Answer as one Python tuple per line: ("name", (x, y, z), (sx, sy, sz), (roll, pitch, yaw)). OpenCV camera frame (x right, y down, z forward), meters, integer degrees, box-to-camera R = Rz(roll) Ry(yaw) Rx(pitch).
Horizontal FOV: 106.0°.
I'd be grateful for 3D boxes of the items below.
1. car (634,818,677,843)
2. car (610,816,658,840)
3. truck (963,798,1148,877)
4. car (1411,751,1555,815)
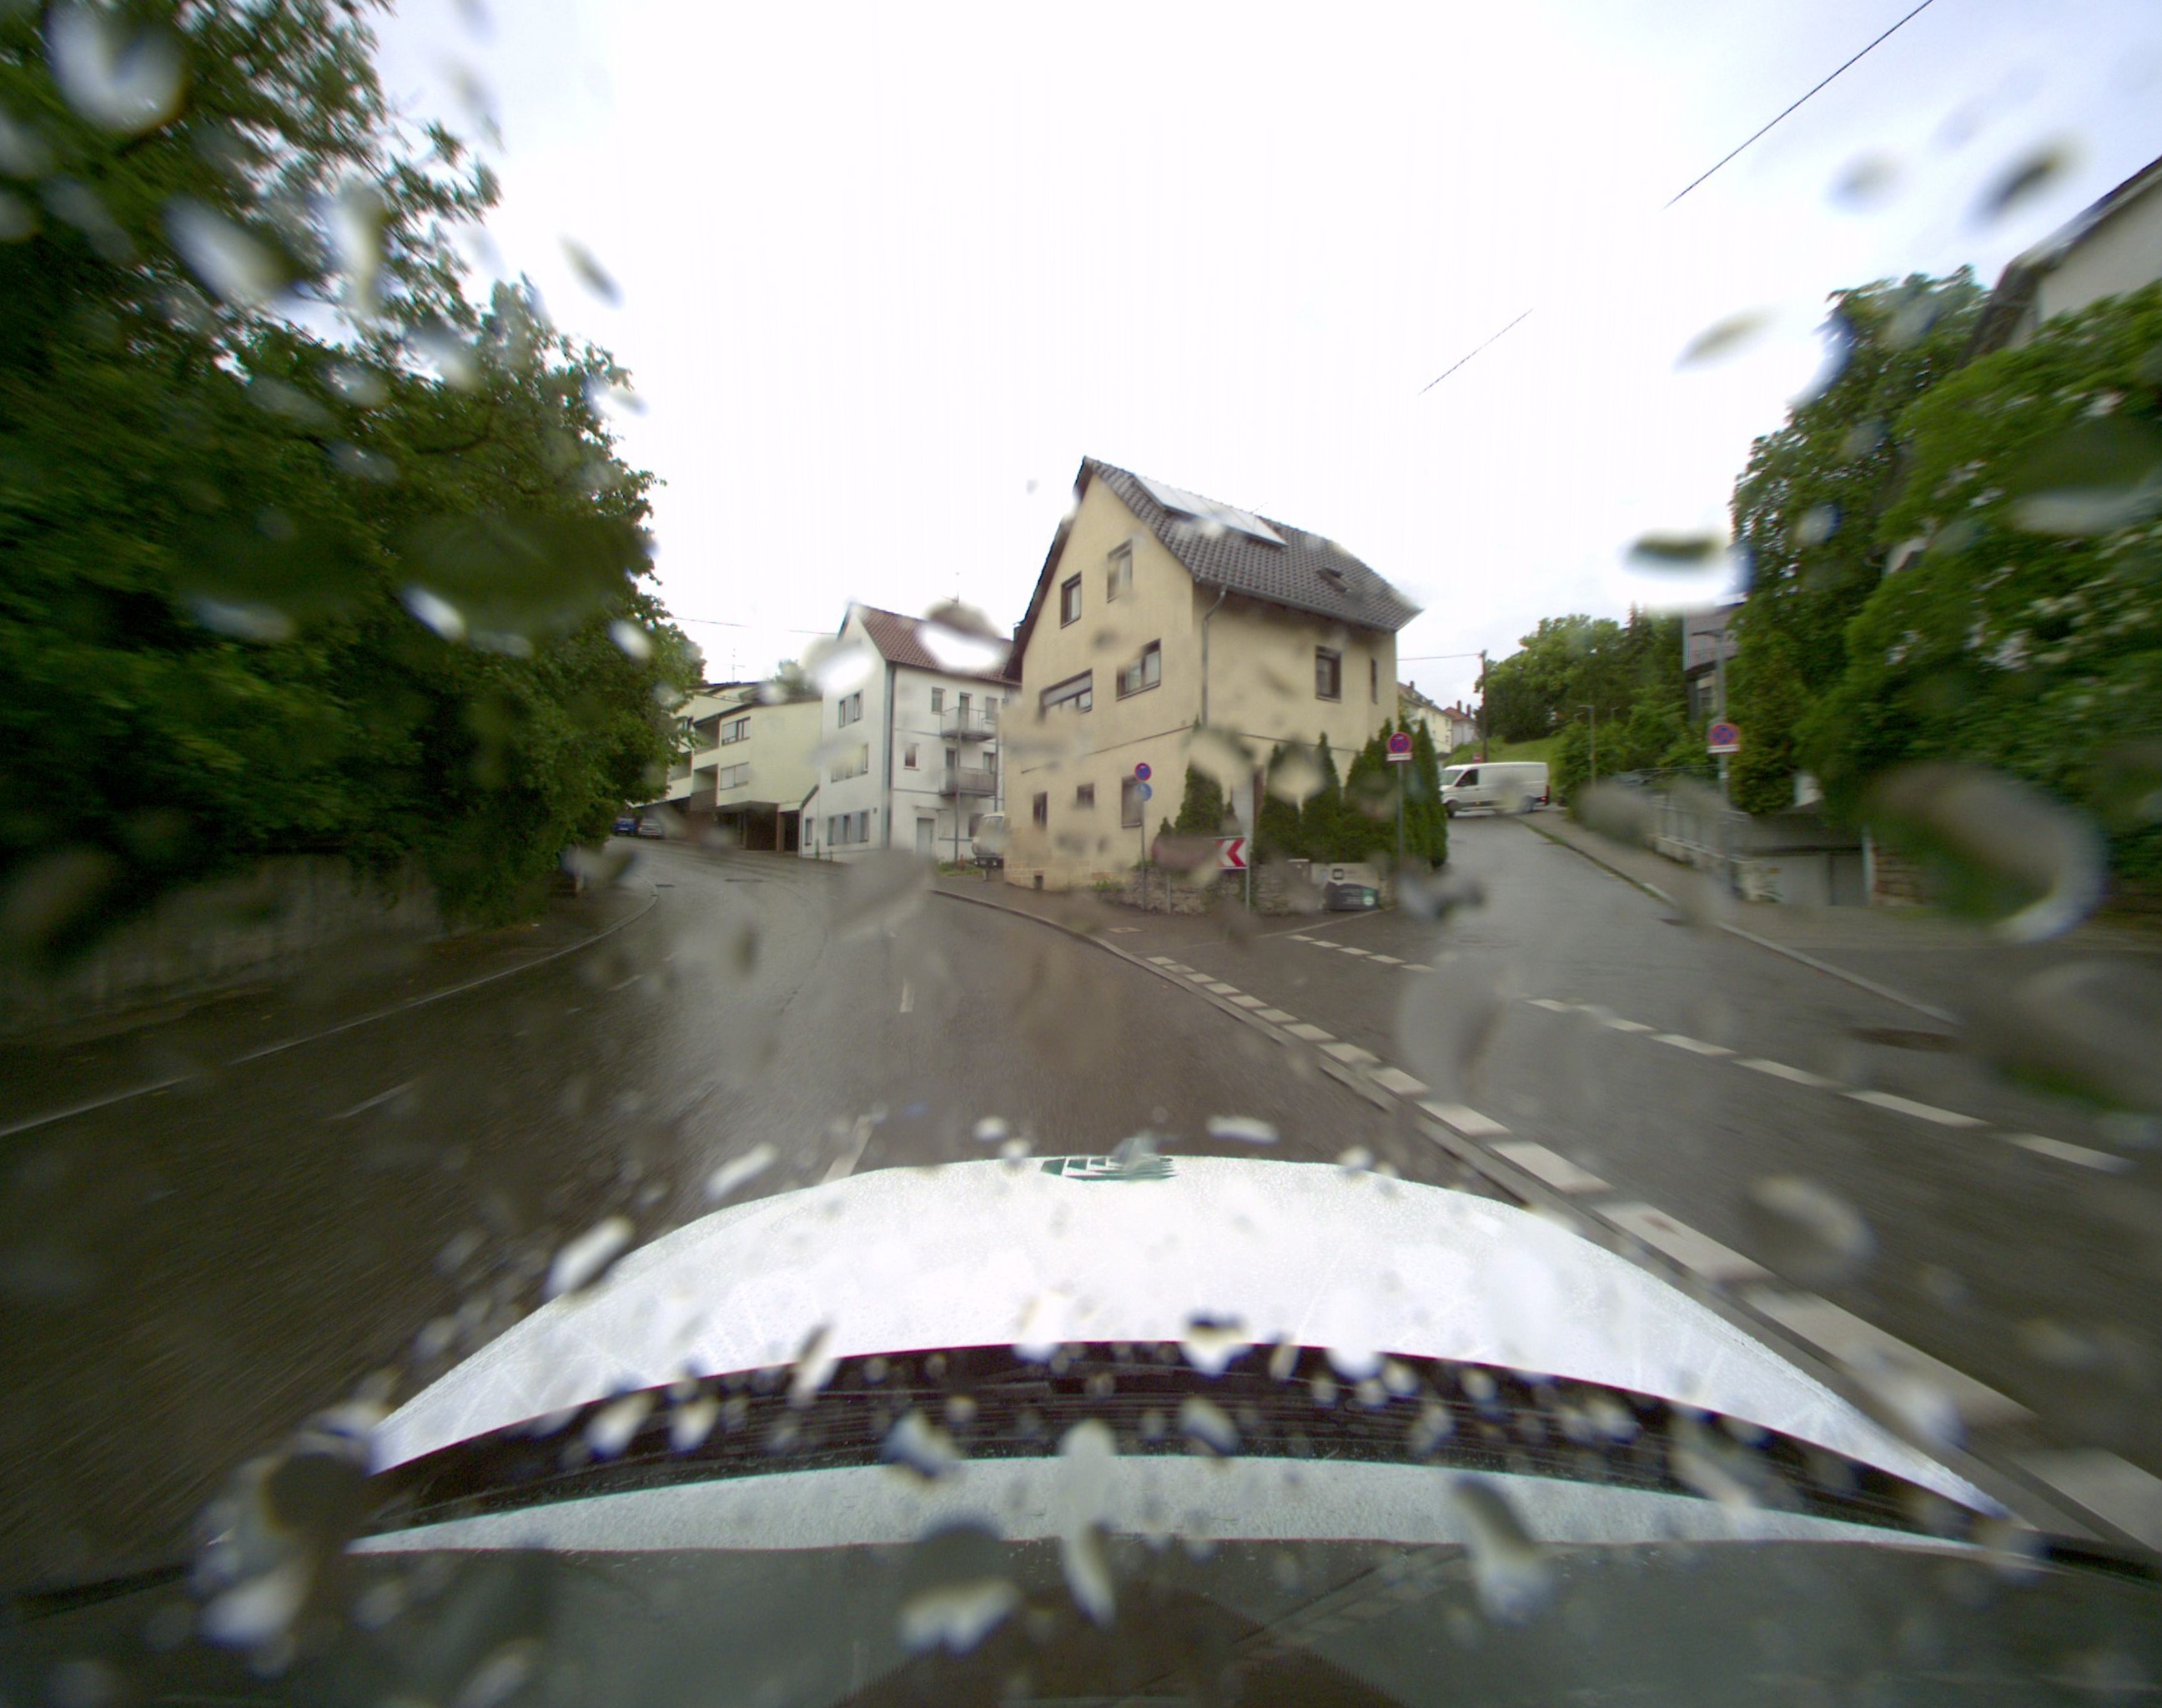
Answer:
("car", (-30.253, -1.667, 58.026), (1.785, 1.578, 4.045), (6, 0, -16))
("car", (-32.667, -1.875, 59.644), (1.782, 1.578, 4.052), (5, 0, -11))
("truck", (-0.836, -0.758, 31.039), (7.008, 2.702, 2.118), (-3, 5, -35))
("car", (17.931, -3.113, 36.392), (5.687, 2.650, 1.994), (0, 0, -9))
